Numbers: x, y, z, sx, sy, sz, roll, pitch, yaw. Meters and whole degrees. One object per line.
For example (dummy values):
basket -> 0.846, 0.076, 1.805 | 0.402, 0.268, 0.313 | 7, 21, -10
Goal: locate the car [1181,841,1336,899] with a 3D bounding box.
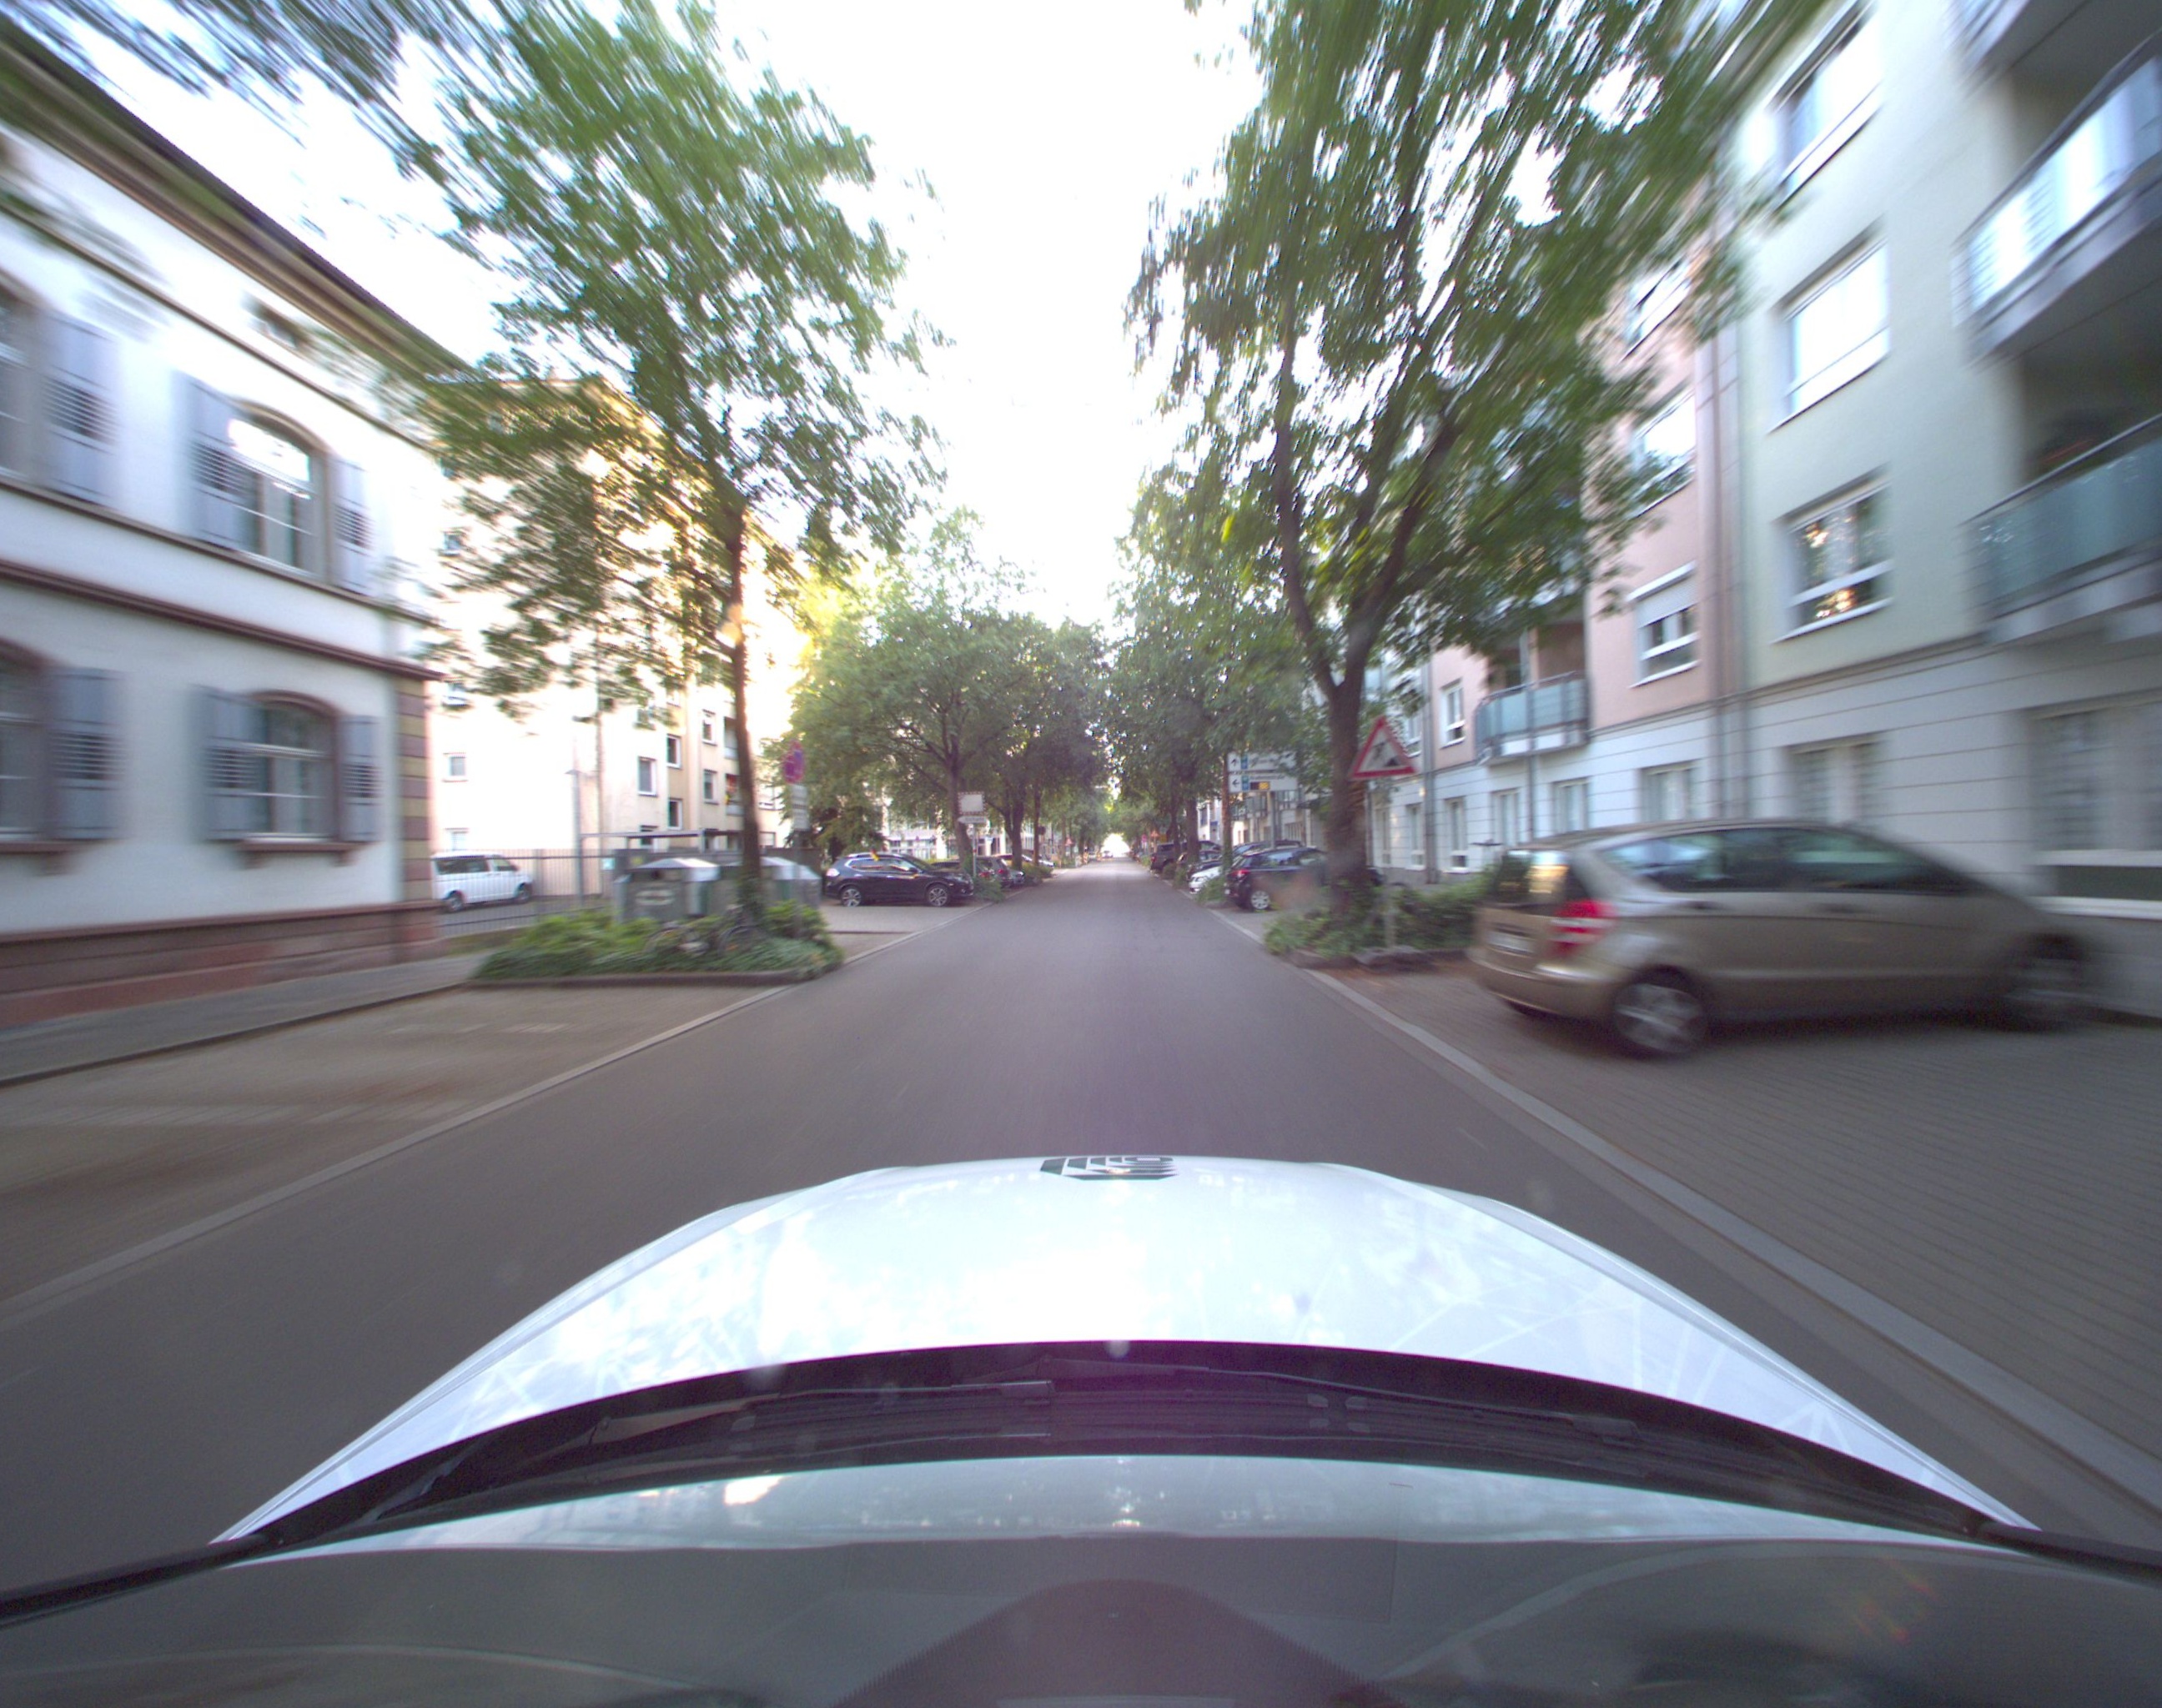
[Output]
car -> 5.660, 0.506, 26.399 | 4.583, 1.468, 1.797 | -5, 0, 1

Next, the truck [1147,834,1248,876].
truck -> 6.997, 0.064, 49.596 | 5.863, 2.311, 2.214 | -2, 0, 3

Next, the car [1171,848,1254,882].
car -> 6.410, 0.537, 39.985 | 3.763, 1.544, 1.878 | -1, 0, 1

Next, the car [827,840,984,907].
car -> -5.521, 0.602, 26.031 | 4.489, 1.955, 2.000 | -1, 0, 1

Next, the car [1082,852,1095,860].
car -> 1.223, 0.354, 137.667 | 1.988, 1.288, 3.997 | -2, 0, -2

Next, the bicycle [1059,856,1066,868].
bicycle -> -1.779, 0.766, 78.068 | 0.681, 1.152, 1.979 | -2, 0, -3

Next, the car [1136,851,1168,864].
car -> 8.804, 0.438, 101.008 | 3.969, 1.585, 2.002 | -2, 0, 4

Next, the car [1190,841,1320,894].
car -> 6.107, 0.454, 28.969 | 4.205, 1.438, 1.932 | -5, 0, 4

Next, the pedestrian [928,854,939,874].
pedestrian -> -13.733, 0.955, 75.971 | 0.887, 1.851, 0.873 | -2, 0, -9

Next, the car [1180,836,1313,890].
car -> 6.333, 0.342, 31.557 | 4.630, 1.617, 2.009 | -5, 0, -2

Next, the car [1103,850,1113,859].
car -> 5.421, 0.101, 166.390 | 2.002, 1.613, 4.121 | -2, 0, 1

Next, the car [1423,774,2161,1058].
car -> 5.065, 0.411, 6.322 | 3.954, 1.585, 1.917 | -4, 0, 1

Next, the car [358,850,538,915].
car -> -20.884, 0.870, 27.198 | 2.042, 1.923, 4.709 | -1, 0, 4

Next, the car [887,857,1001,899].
car -> -5.178, 0.902, 31.247 | 3.973, 1.464, 1.922 | -2, 0, 0

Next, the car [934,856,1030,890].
car -> -4.683, 0.895, 38.915 | 4.271, 1.429, 1.880 | -2, 0, 2

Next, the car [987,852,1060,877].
car -> -3.826, 0.680, 54.783 | 4.597, 1.552, 2.078 | -1, 0, 4

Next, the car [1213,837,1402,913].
car -> 5.571, 0.497, 20.372 | 4.074, 1.451, 1.933 | -5, 0, -3

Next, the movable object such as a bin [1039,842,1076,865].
movable object such as a bin -> -2.715, -0.077, 92.649 | 4.037, 2.383, 2.781 | -2, 0, -3

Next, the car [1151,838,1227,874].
car -> 6.914, 0.129, 52.346 | 4.584, 2.066, 2.198 | -2, 0, 1

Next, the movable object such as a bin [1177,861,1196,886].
movable object such as a bin -> 4.847, 0.894, 37.480 | 0.757, 1.084, 0.786 | -3, 0, 3

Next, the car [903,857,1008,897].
car -> -5.114, 0.918, 33.630 | 3.974, 1.490, 1.825 | -2, 0, 0

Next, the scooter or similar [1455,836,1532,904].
scooter or similar -> 7.899, 0.293, 15.666 | 0.653, 1.203, 1.455 | -5, 0, 0

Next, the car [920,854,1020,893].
car -> -4.895, 0.845, 36.291 | 3.965, 1.565, 1.933 | -1, 0, 7
